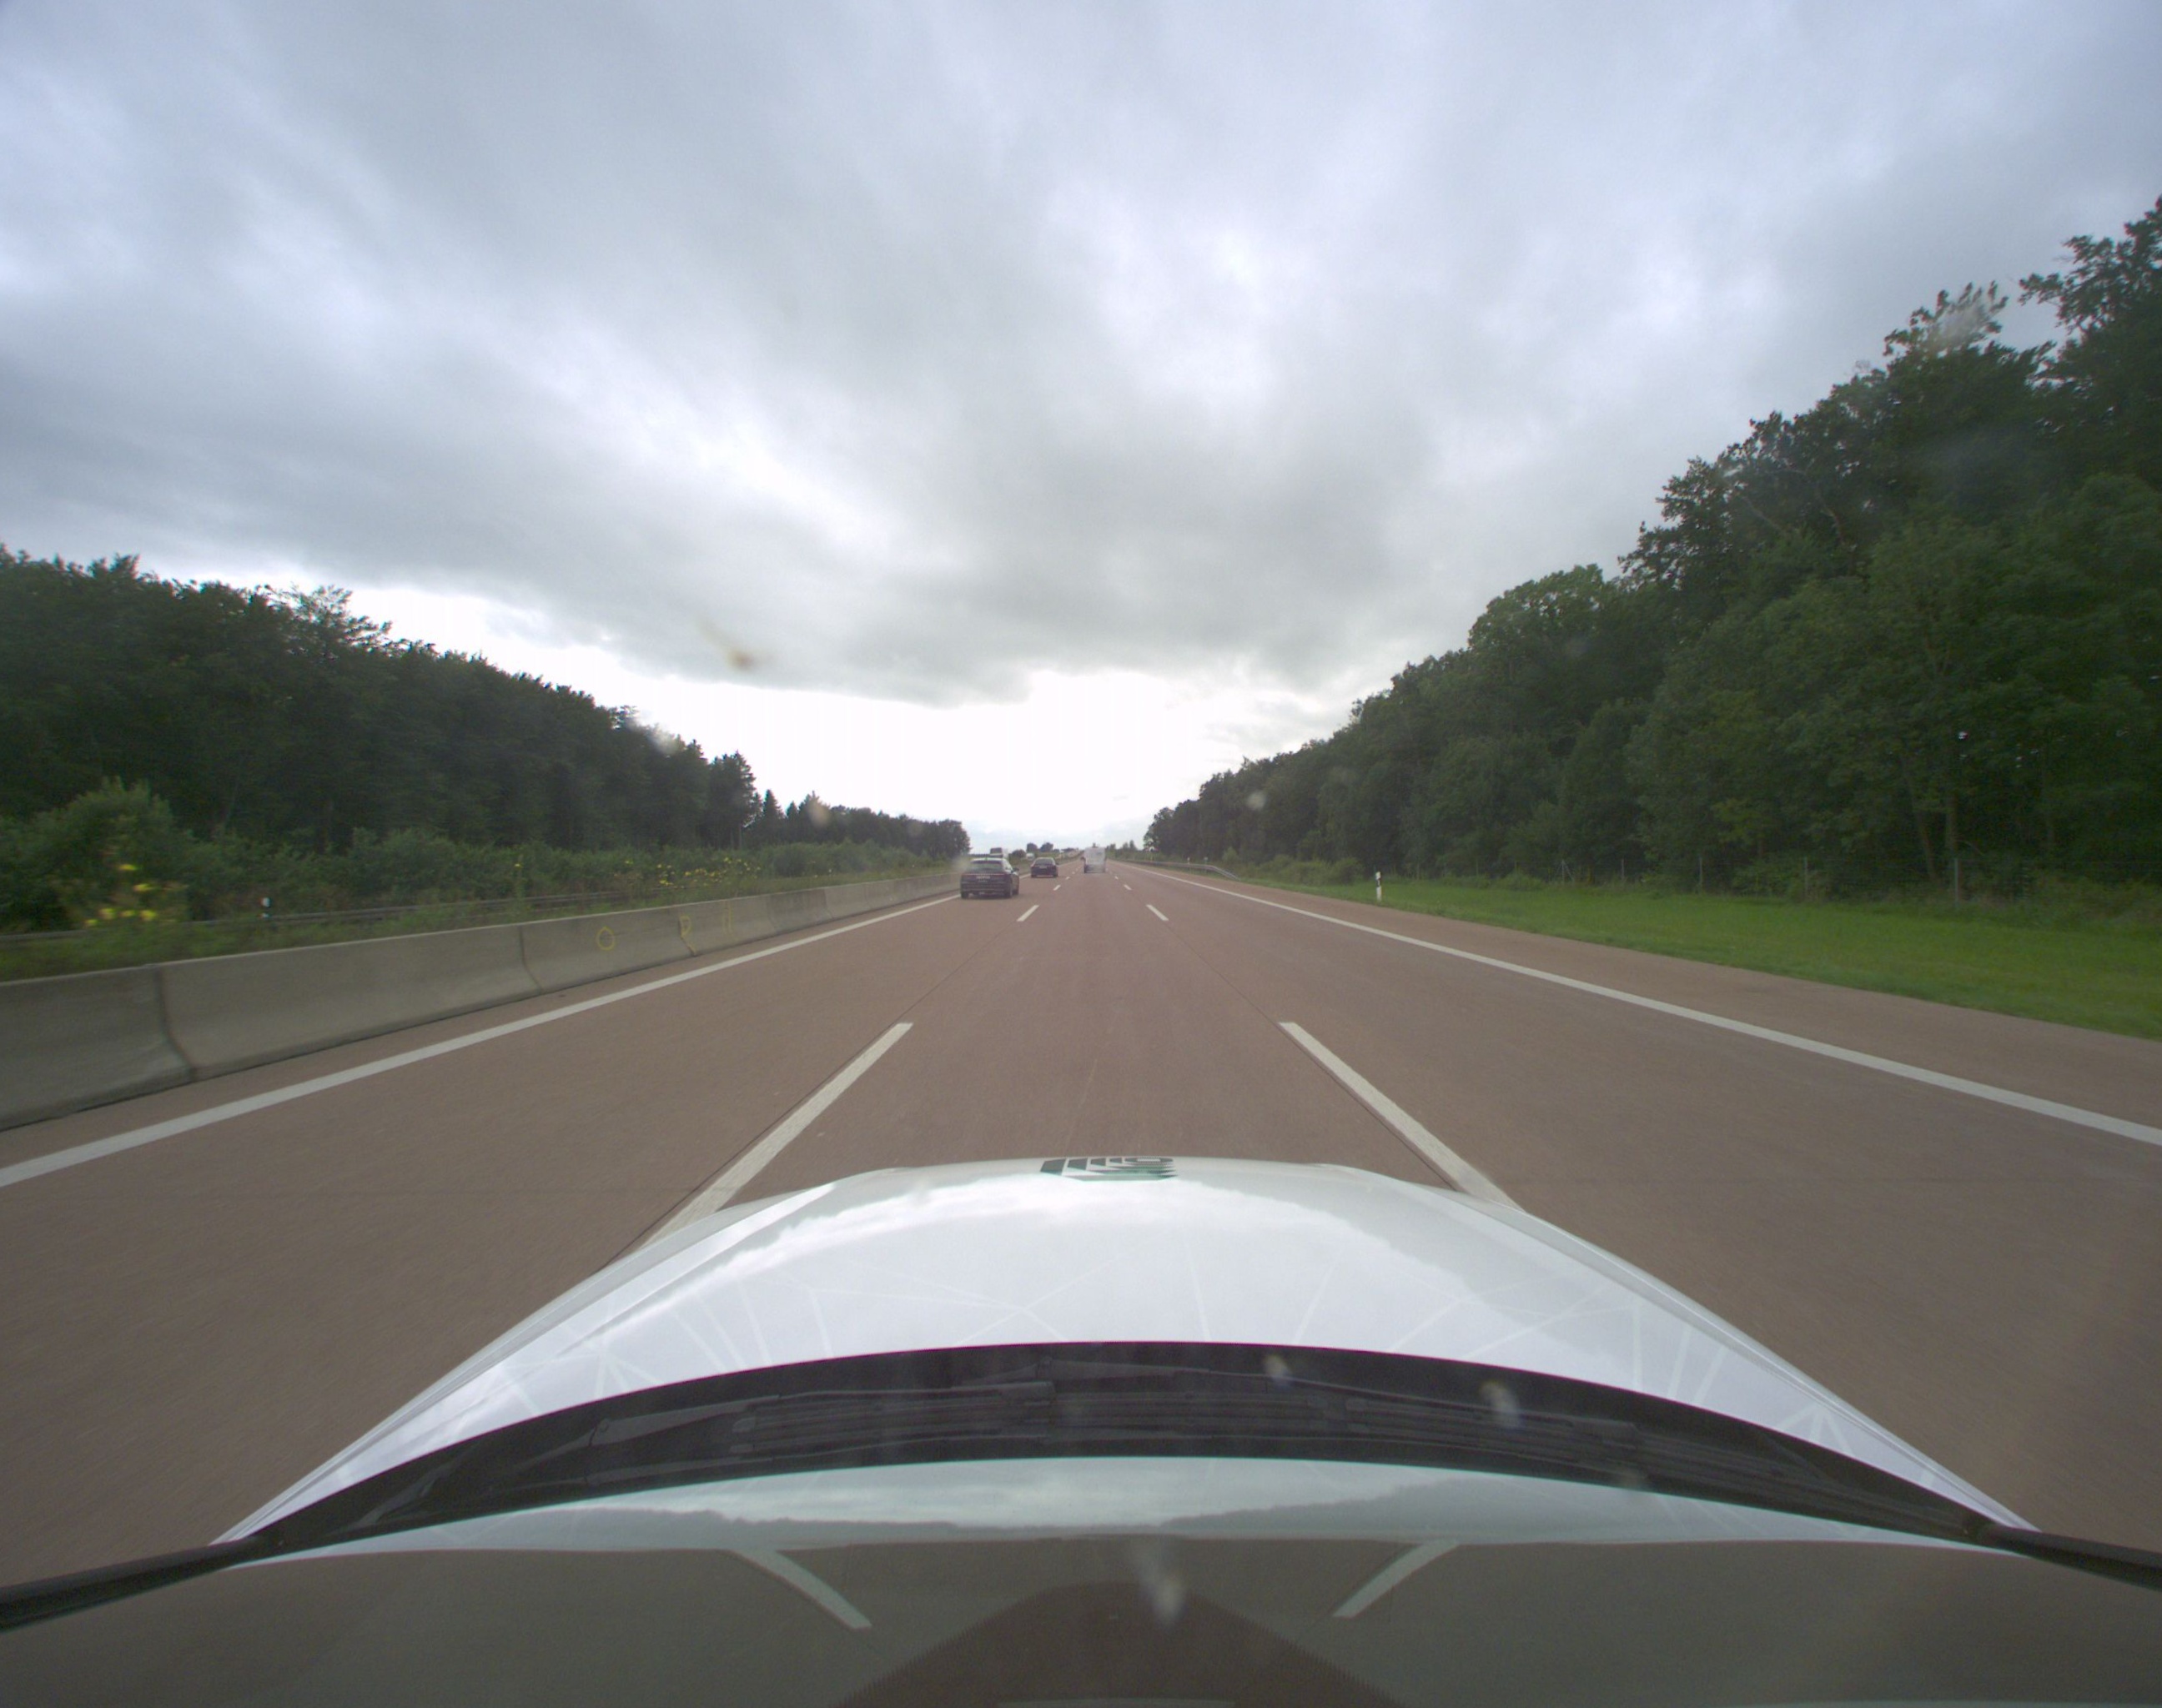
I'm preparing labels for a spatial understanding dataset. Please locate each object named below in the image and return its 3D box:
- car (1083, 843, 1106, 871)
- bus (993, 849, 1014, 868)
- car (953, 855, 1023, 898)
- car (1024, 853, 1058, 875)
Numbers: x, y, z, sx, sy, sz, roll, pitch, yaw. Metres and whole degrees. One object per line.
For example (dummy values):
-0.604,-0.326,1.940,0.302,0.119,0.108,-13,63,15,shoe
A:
1.310,0.254,77.819,2.130,2.507,7.133,-1,0,1,car
-16.488,0.928,173.530,3.039,3.888,14.359,0,0,0,bus
-3.497,0.792,31.657,2.052,1.491,5.453,0,0,0,car
-2.910,0.716,60.635,2.077,1.550,5.677,0,0,2,car
